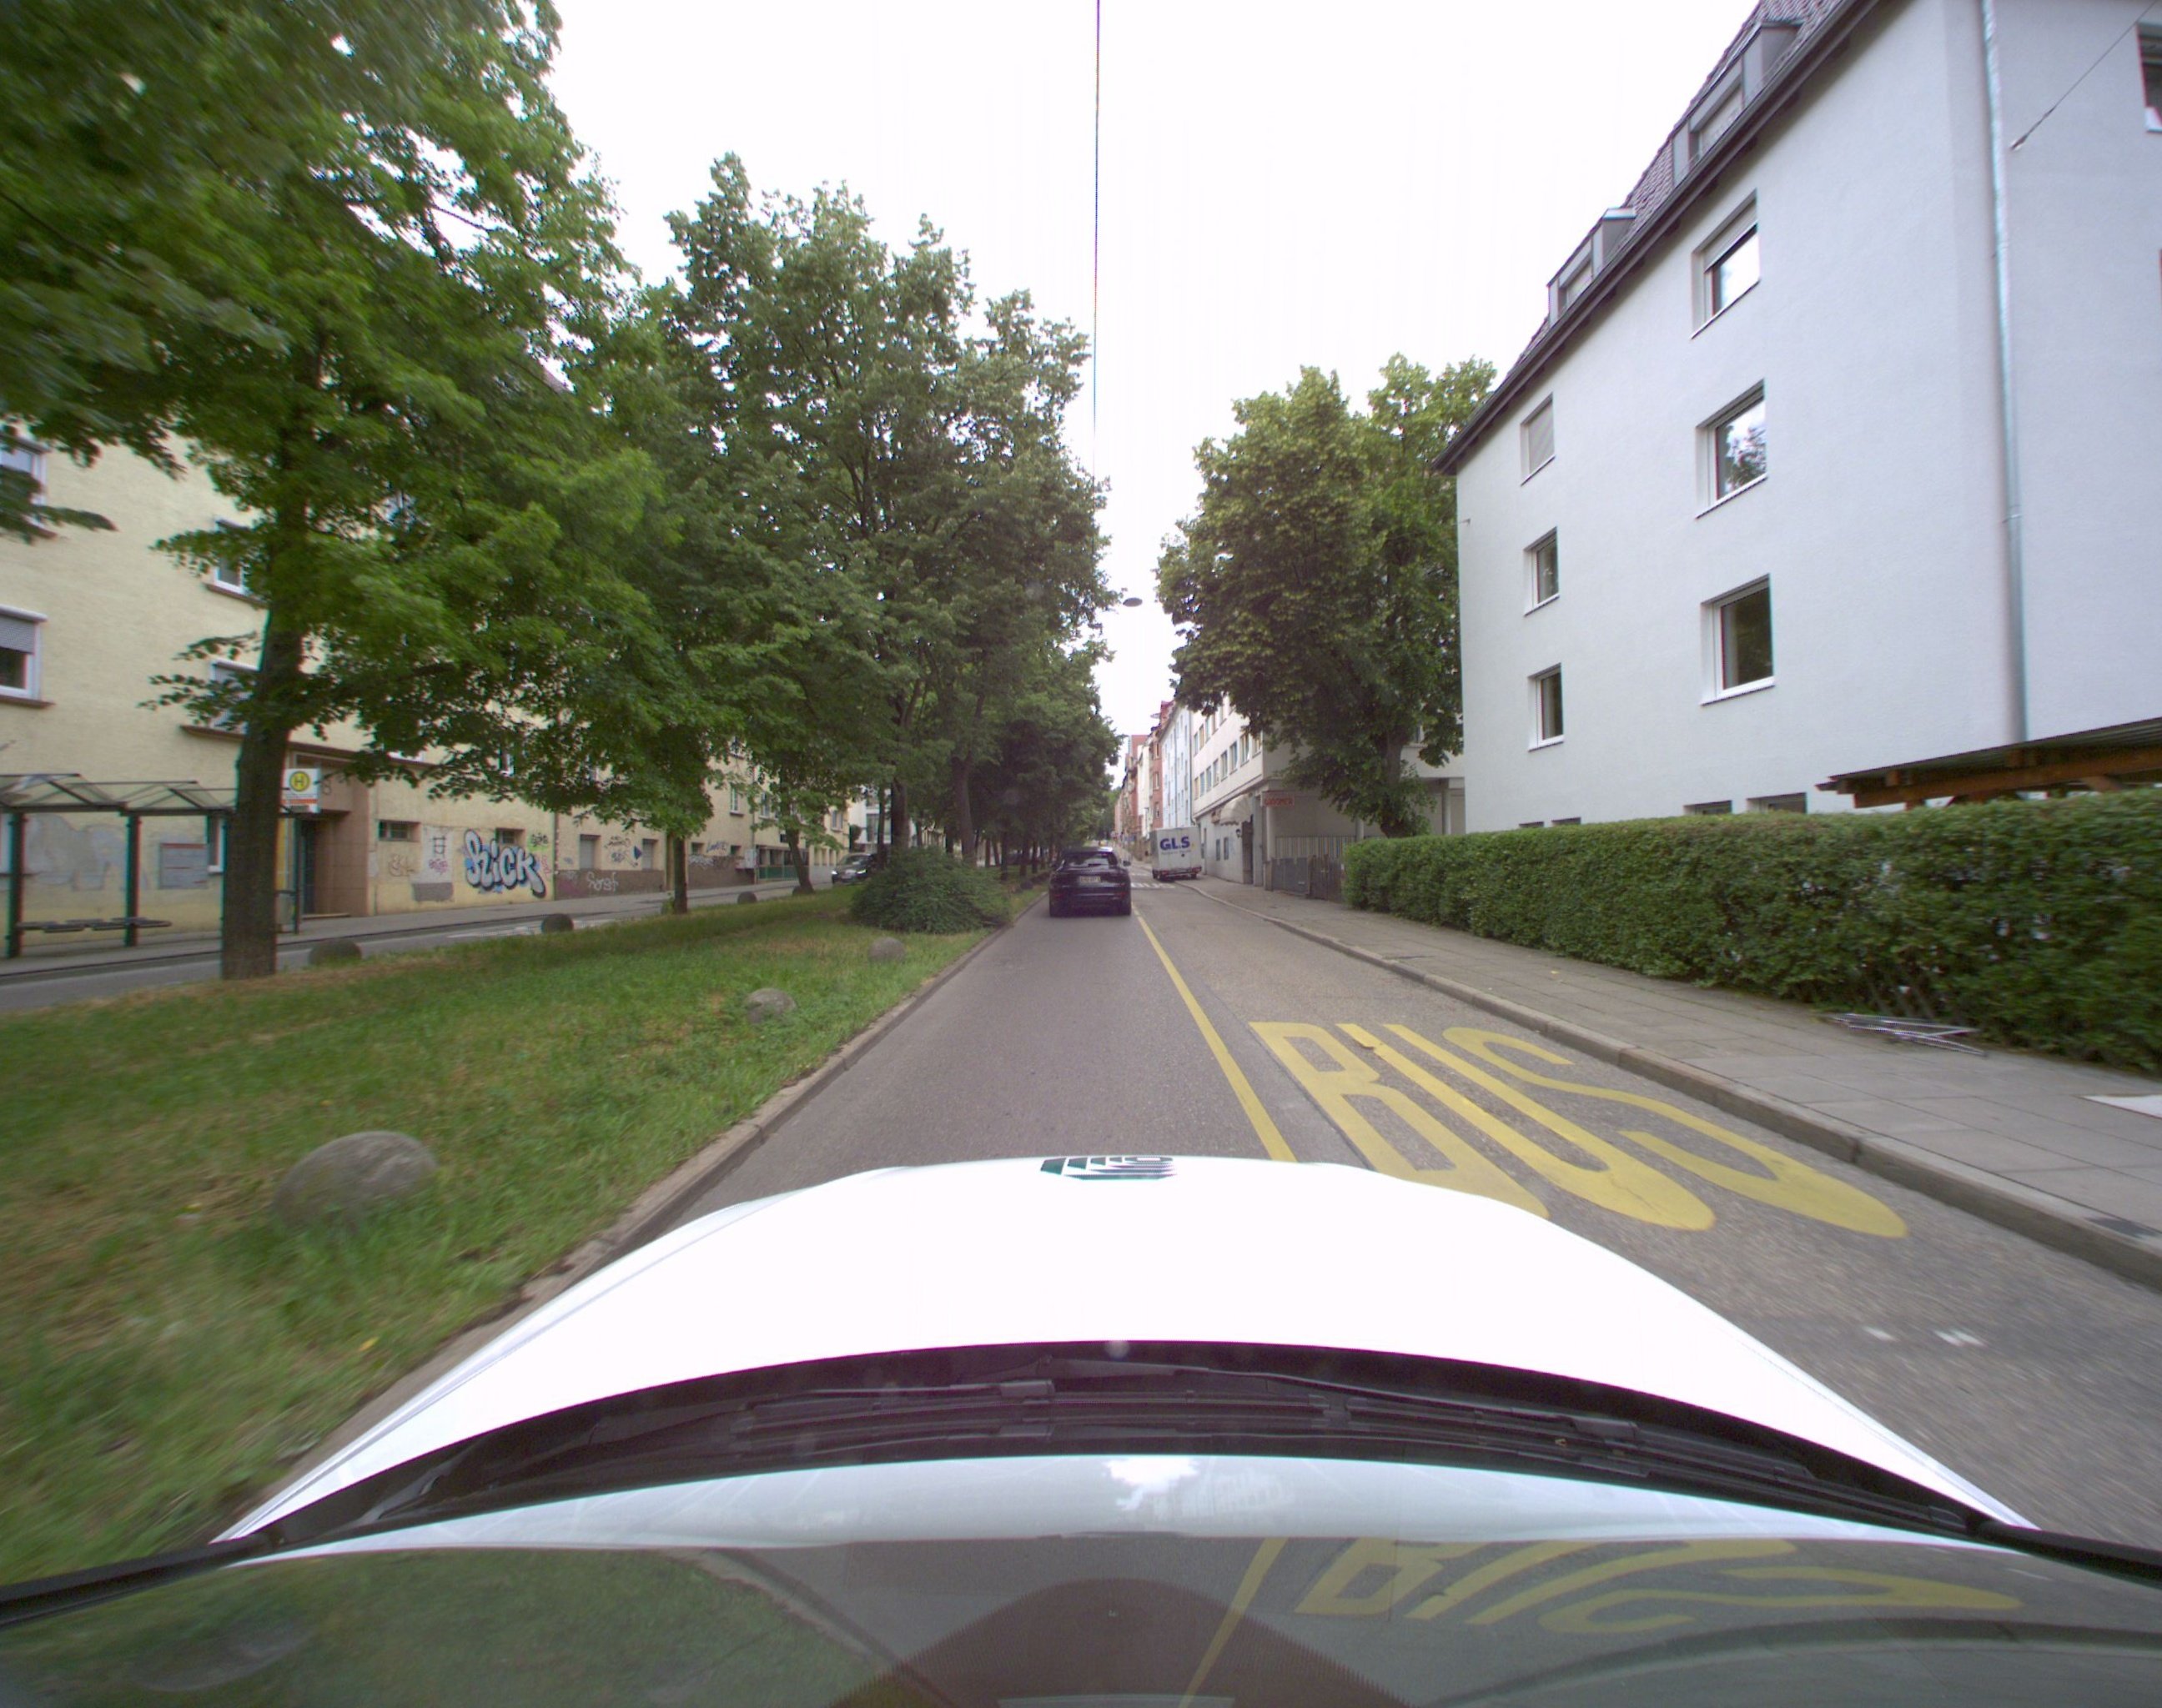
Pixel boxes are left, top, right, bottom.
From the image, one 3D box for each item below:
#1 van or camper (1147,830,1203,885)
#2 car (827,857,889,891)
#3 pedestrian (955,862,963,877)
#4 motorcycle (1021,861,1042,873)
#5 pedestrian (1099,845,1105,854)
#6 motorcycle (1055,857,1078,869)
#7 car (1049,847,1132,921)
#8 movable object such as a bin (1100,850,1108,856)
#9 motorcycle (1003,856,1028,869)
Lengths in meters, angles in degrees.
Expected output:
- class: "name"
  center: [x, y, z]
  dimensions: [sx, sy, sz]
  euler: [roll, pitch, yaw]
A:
- class: "van or camper"
  center: [5.123, 0.115, 45.282]
  dimensions: [2.471, 2.802, 7.241]
  euler: [-1, 1, 2]
- class: "car"
  center: [-11.381, 0.974, 41.888]
  dimensions: [1.942, 1.628, 4.364]
  euler: [1, -1, 0]
- class: "pedestrian"
  center: [-12.758, 1.638, 85.253]
  dimensions: [0.660, 1.616, 0.580]
  euler: [0, -1, 3]
- class: "motorcycle"
  center: [-5.220, 1.380, 85.869]
  dimensions: [2.018, 1.235, 0.898]
  euler: [-1, -1, 6]
- class: "pedestrian"
  center: [5.182, -1.056, 198.527]
  dimensions: [1.303, 2.014, 1.014]
  euler: [0, -1, -15]
- class: "motorcycle"
  center: [-1.534, 0.930, 85.246]
  dimensions: [2.348, 1.235, 1.033]
  euler: [-1, 0, -1]
- class: "car"
  center: [0.212, 0.709, 20.788]
  dimensions: [1.897, 1.666, 4.134]
  euler: [-1, -1, 0]
- class: "movable object such as a bin"
  center: [5.553, -0.253, 197.113]
  dimensions: [1.241, 1.274, 1.834]
  euler: [0, -1, -20]
- class: "motorcycle"
  center: [-6.637, 0.868, 82.756]
  dimensions: [2.375, 1.317, 1.045]
  euler: [-1, 0, -1]
